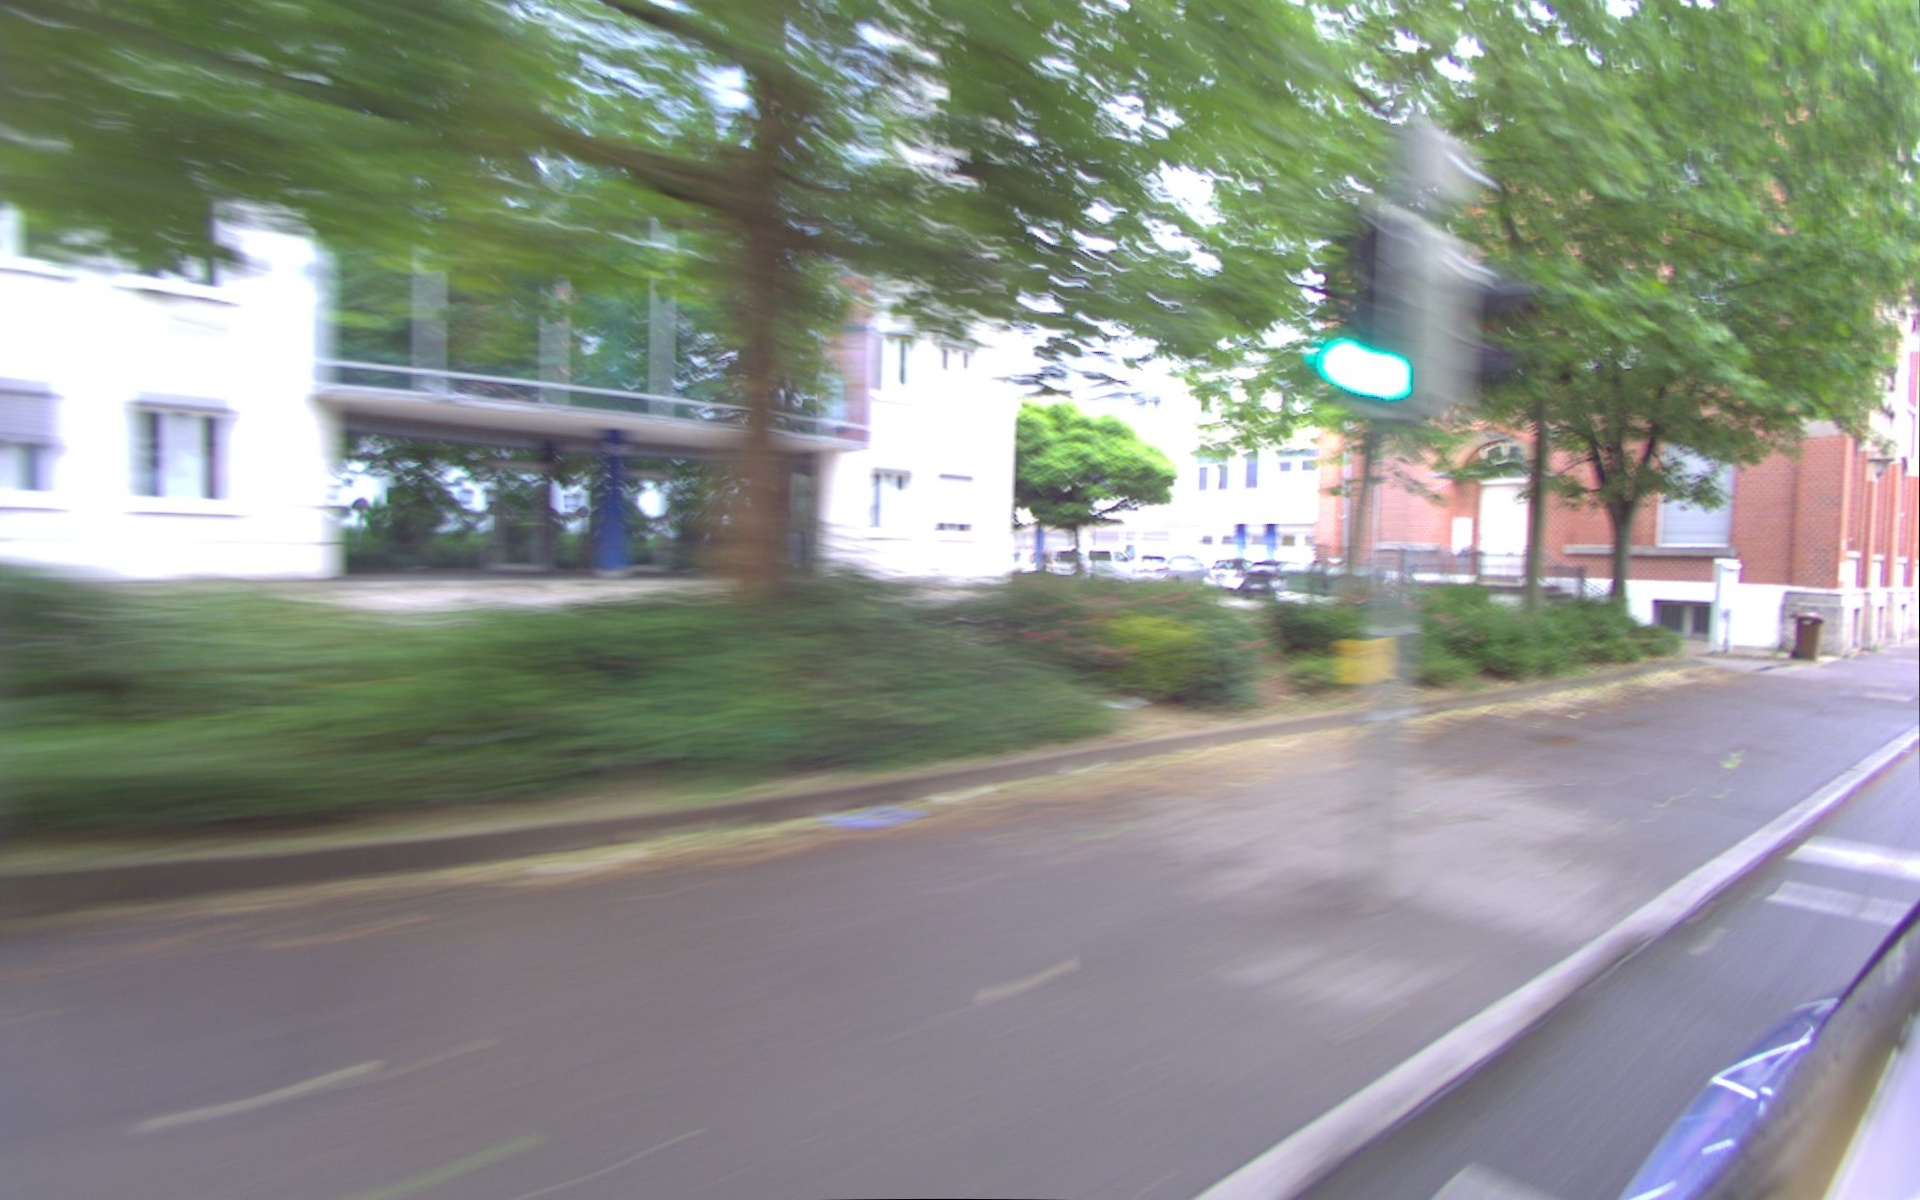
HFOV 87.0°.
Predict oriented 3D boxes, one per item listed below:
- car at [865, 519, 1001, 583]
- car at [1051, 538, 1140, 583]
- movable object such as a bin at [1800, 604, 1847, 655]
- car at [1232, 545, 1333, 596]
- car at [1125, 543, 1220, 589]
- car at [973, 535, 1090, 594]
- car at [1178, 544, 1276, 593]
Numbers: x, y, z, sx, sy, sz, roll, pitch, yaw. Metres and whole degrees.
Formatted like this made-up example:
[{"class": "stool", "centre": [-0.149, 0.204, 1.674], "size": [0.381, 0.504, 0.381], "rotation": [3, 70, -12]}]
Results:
[{"class": "car", "centre": [-0.987, -1.884, 39.743], "size": [5.204, 2.358, 2.035], "rotation": [-2, 1, -40]}, {"class": "car", "centre": [6.227, -1.801, 46.337], "size": [3.927, 1.973, 1.912], "rotation": [-2, 1, -40]}, {"class": "movable object such as a bin", "centre": [17.177, 0.574, 20.136], "size": [0.562, 0.944, 0.592], "rotation": [0, 4, -41]}, {"class": "car", "centre": [12.447, -1.140, 38.961], "size": [3.927, 1.840, 1.912], "rotation": [-2, 2, -40]}, {"class": "car", "centre": [8.962, -1.422, 42.627], "size": [3.927, 1.840, 1.912], "rotation": [-2, 2, -40]}, {"class": "car", "centre": [2.516, -1.234, 35.358], "size": [3.927, 1.973, 1.819], "rotation": [-2, 1, -40]}, {"class": "car", "centre": [10.719, -1.263, 40.493], "size": [3.927, 1.840, 1.912], "rotation": [-2, 2, -40]}]
